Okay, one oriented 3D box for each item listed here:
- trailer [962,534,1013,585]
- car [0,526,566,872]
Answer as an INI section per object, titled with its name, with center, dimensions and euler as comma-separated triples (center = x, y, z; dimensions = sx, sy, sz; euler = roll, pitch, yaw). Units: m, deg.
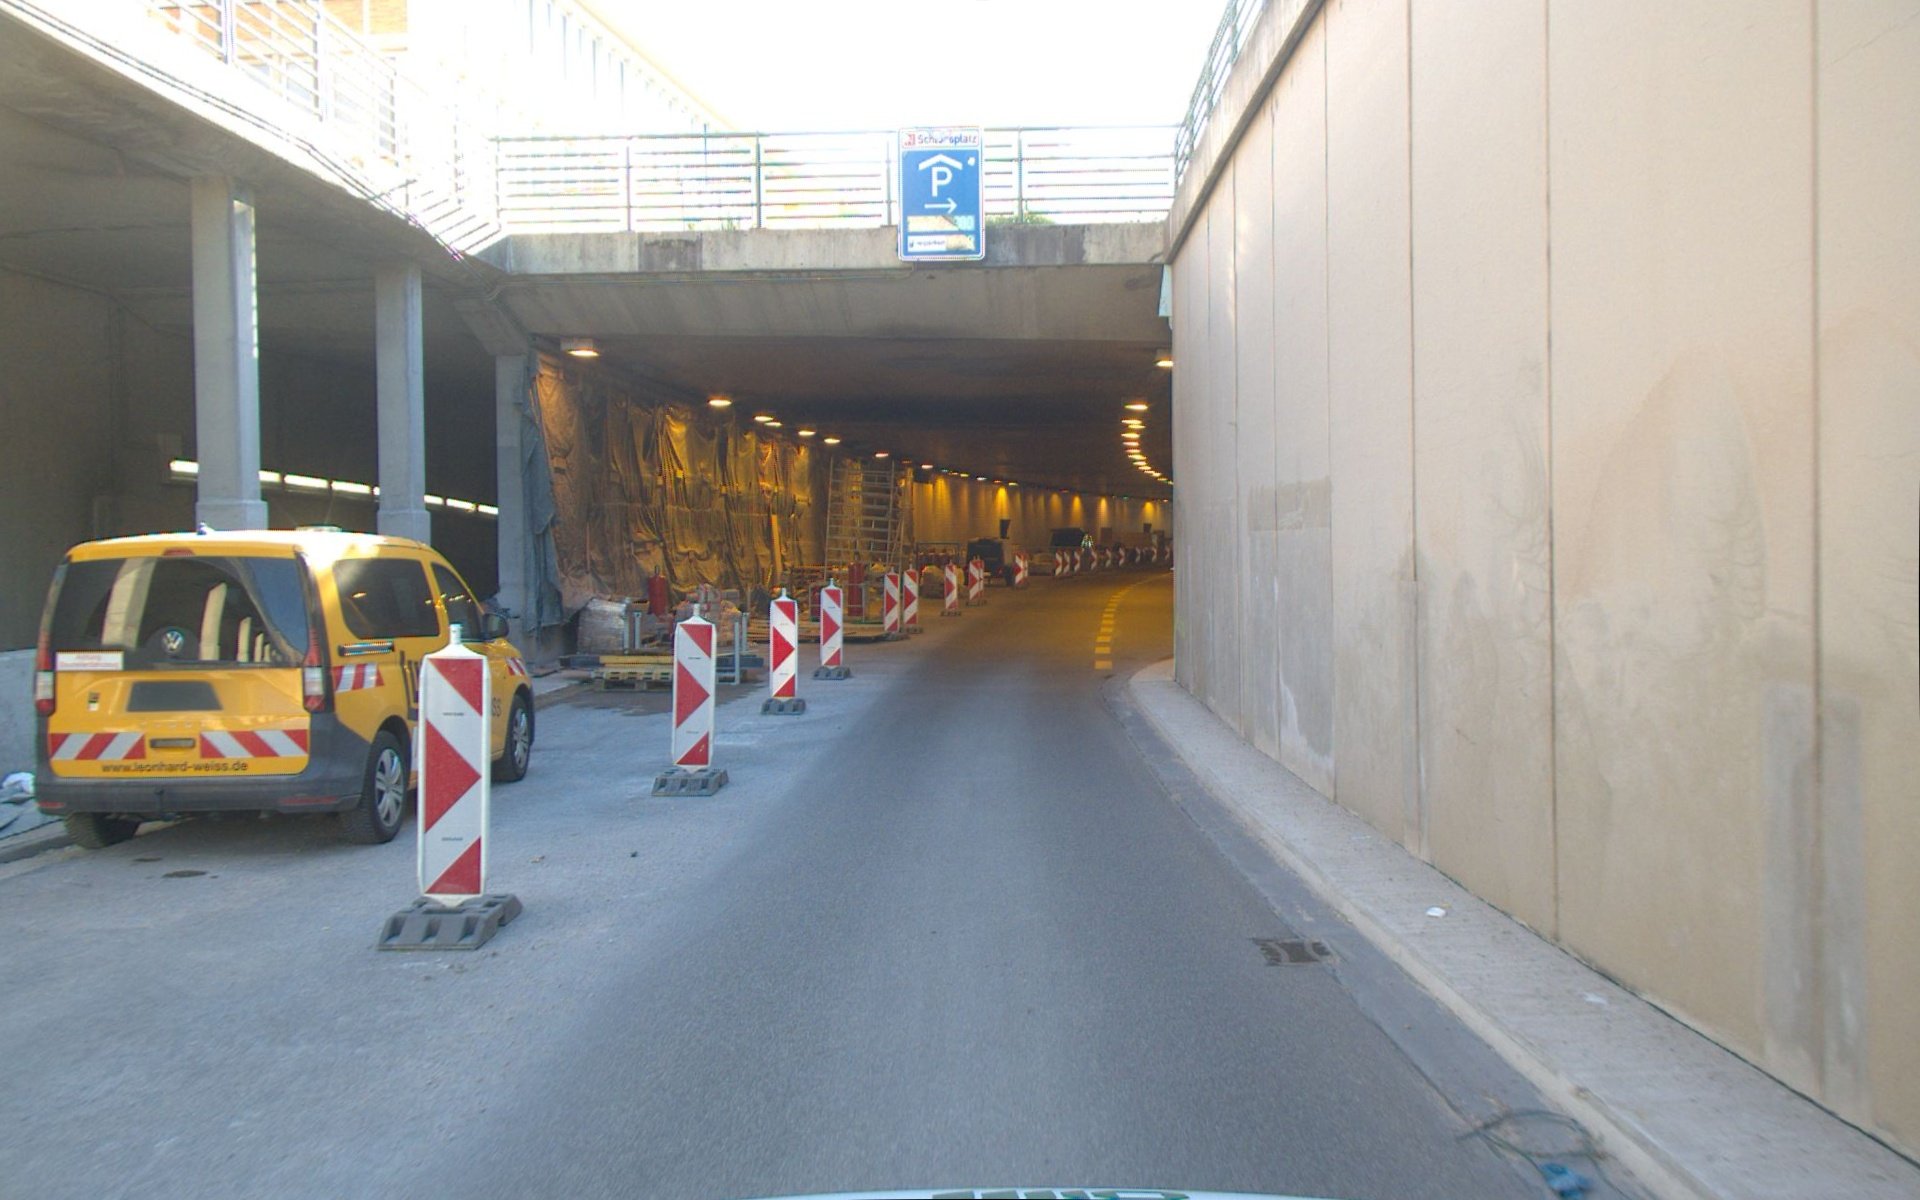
[trailer]
center = 1.048, -1.510, 61.395
dimensions = 1.547, 1.829, 2.942
euler = 1, 2, 8
[car]
center = -4.064, 0.465, 10.858
dimensions = 1.810, 1.806, 4.435
euler = 0, 1, 1
